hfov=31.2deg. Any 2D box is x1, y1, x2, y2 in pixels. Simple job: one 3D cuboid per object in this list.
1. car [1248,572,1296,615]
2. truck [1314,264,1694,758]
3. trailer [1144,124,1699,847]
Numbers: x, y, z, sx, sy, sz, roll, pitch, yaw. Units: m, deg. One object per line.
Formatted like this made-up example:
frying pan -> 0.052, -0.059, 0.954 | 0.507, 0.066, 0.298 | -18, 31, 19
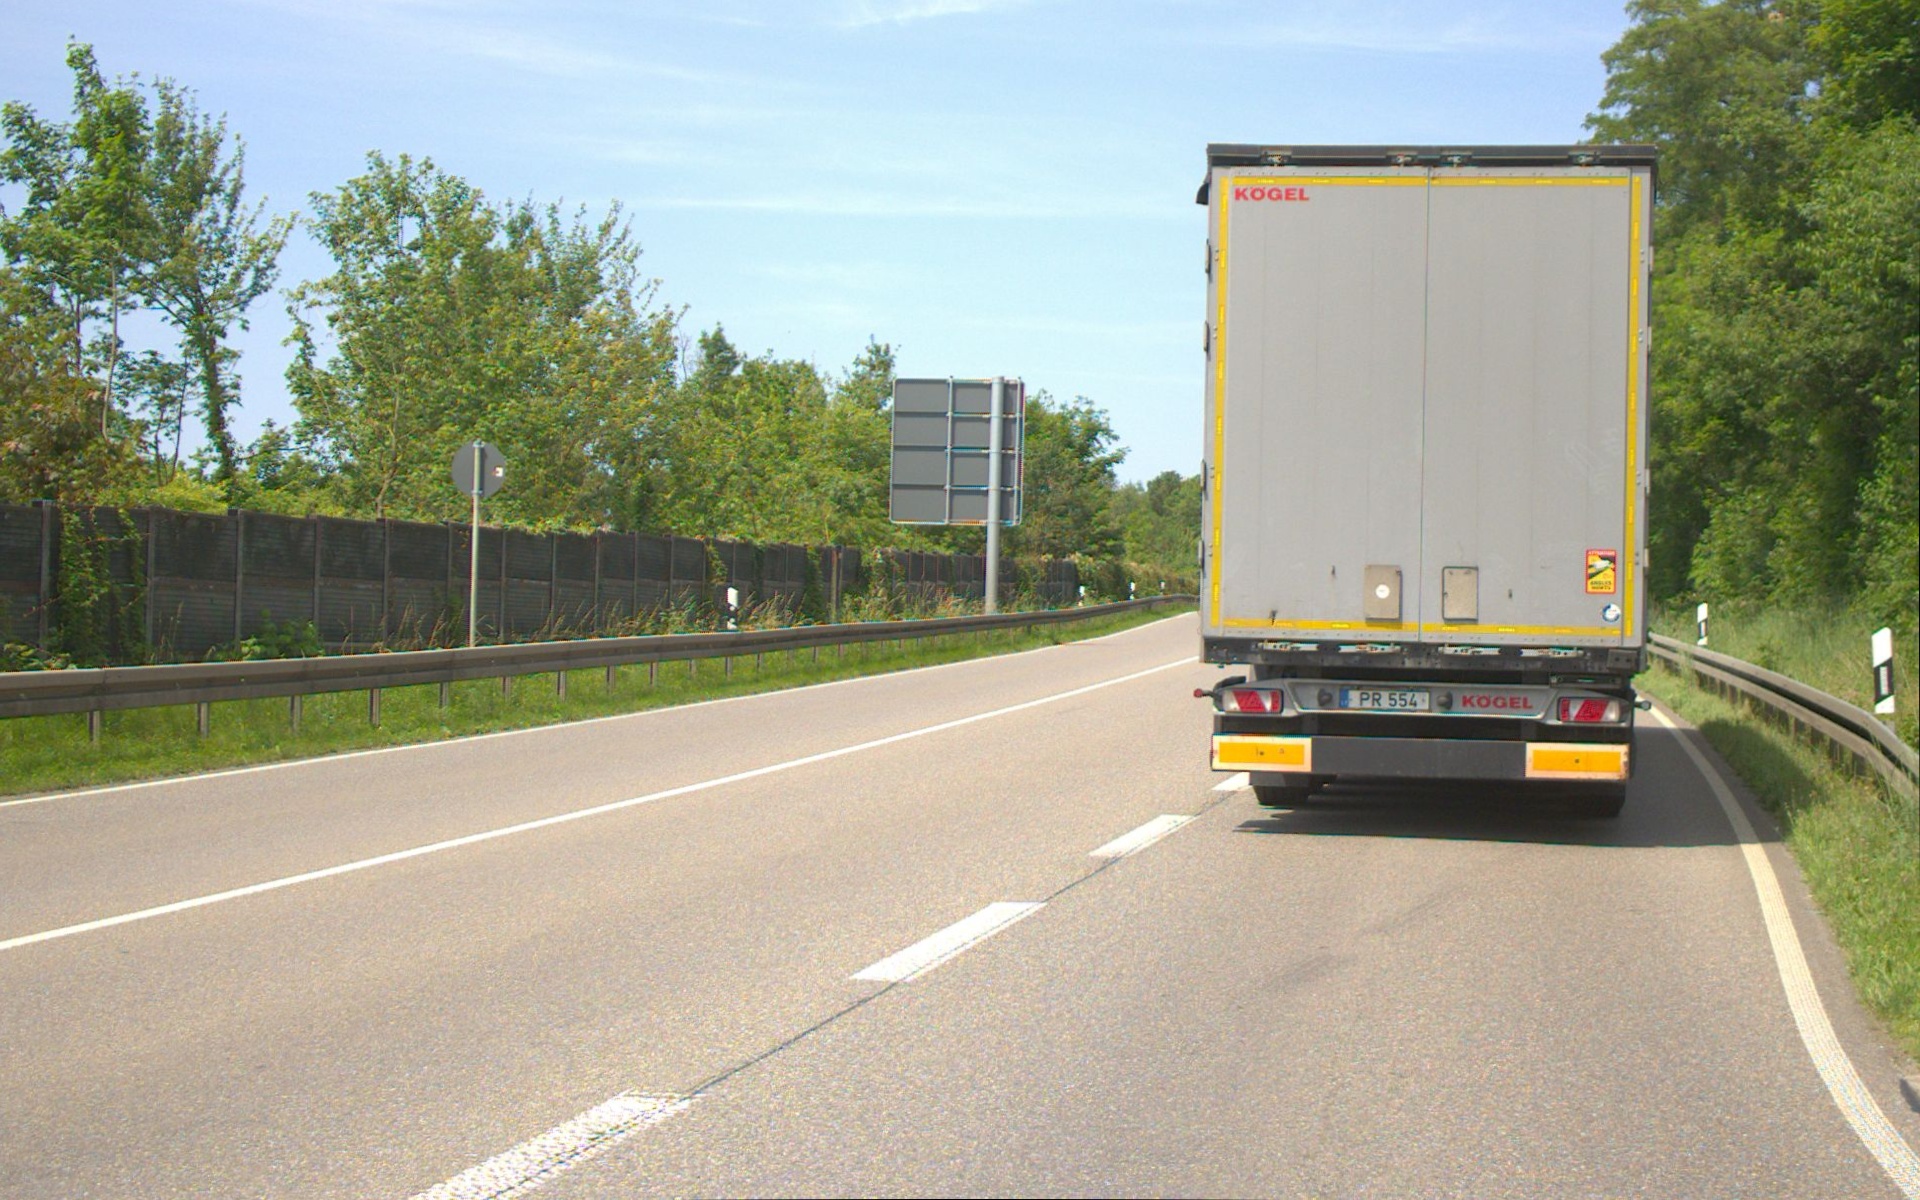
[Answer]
car -> 17.770, -0.403, 196.135 | 2.616, 2.415, 5.828 | 0, 1, 4
truck -> 5.336, -0.802, 33.066 | 3.154, 4.210, 7.119 | 1, 0, 11
trailer -> 3.902, -0.681, 25.966 | 3.028, 4.021, 13.345 | 1, 0, 11
